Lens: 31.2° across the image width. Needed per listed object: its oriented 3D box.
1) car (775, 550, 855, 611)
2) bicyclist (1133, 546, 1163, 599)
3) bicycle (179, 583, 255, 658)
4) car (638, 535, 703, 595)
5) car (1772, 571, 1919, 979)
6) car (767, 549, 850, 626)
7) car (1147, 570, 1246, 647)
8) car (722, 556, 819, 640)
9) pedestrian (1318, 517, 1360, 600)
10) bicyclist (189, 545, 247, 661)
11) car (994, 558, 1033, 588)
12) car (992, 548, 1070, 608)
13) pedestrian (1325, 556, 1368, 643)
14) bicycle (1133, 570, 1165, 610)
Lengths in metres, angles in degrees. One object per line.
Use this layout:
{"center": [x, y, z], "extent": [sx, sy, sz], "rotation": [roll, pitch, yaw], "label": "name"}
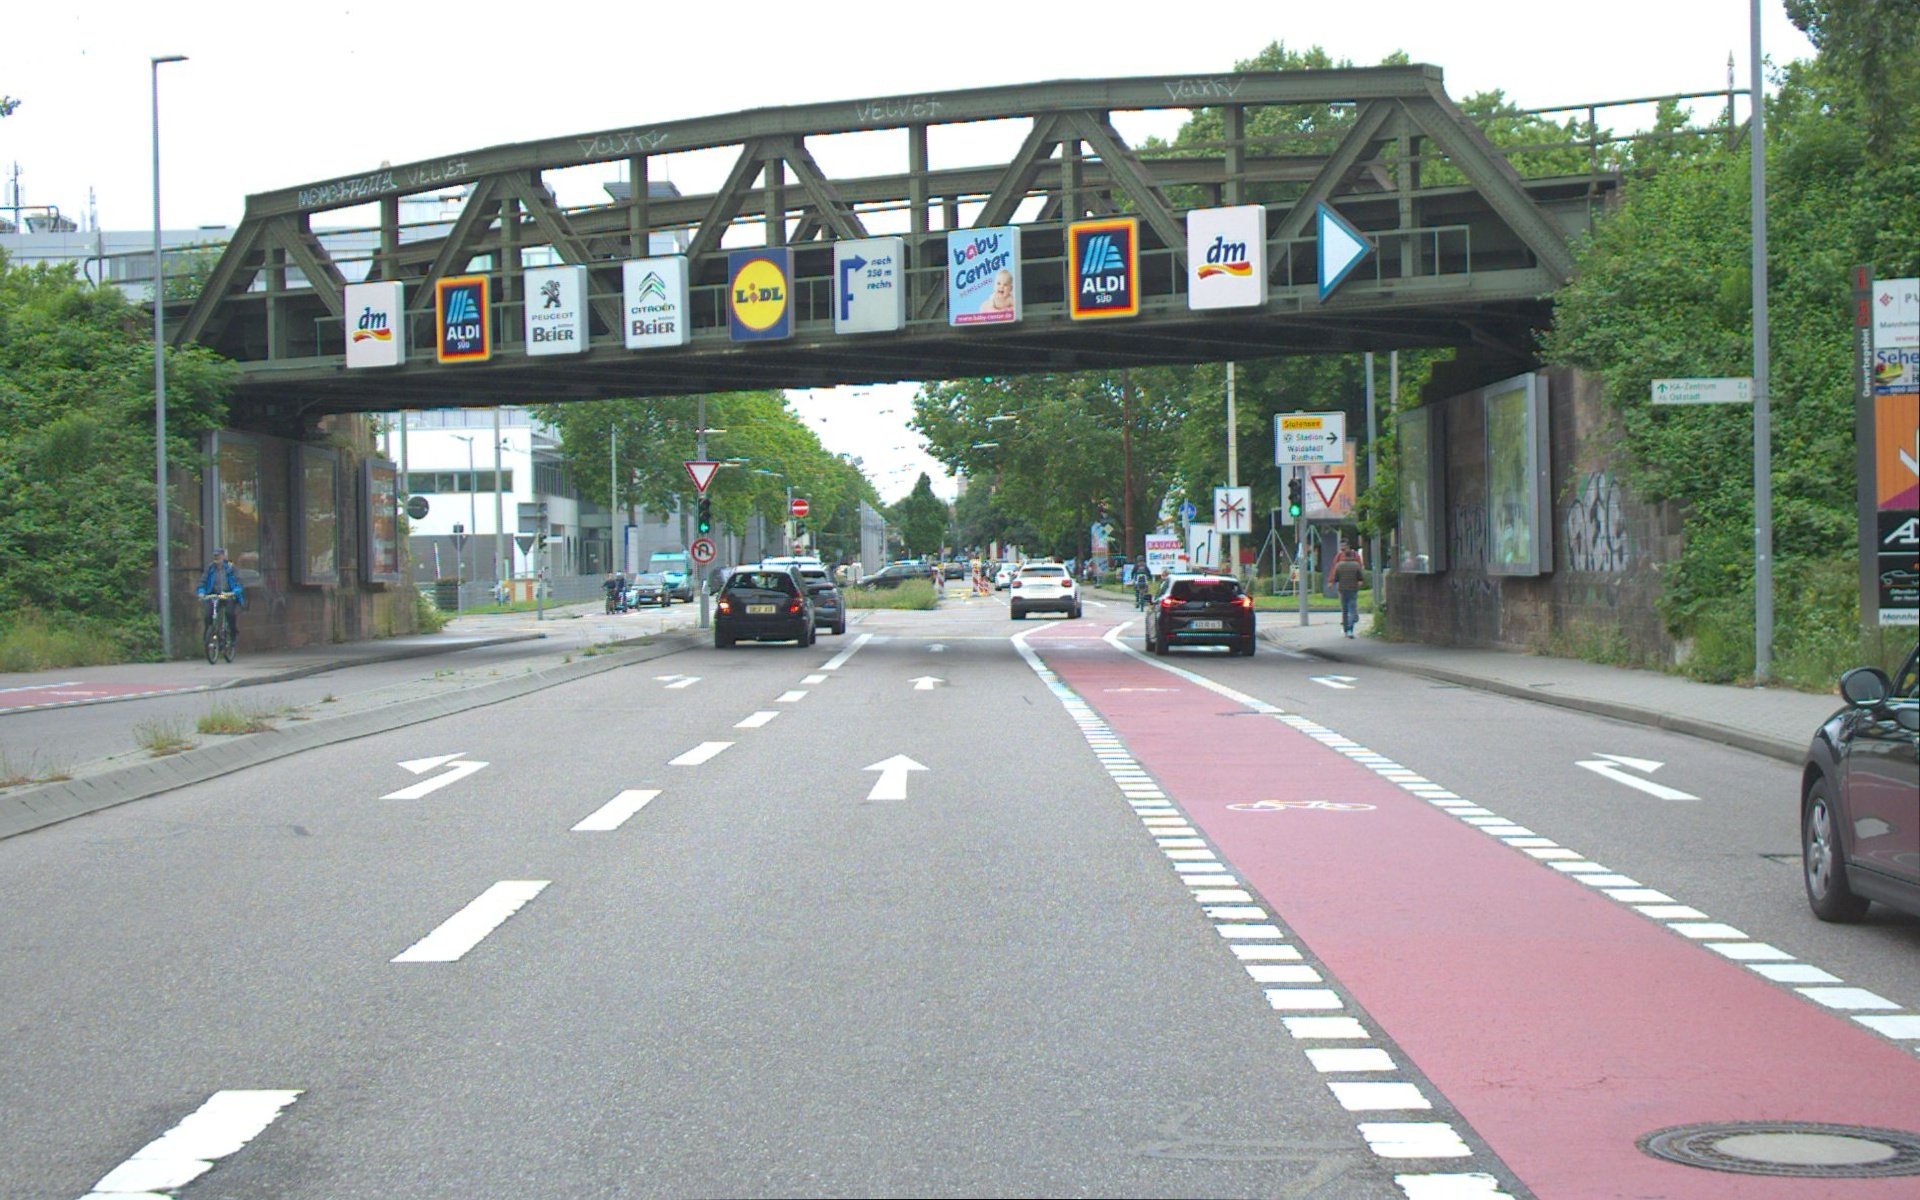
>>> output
{"center": [-3.829, -0.542, 90.190], "extent": [1.961, 1.522, 5.011], "rotation": [0, 1, -4], "label": "car"}
{"center": [5.871, -0.857, 107.307], "extent": [0.816, 1.624, 1.235], "rotation": [-1, 0, 0], "label": "bicyclist"}
{"center": [-12.119, 0.320, 56.134], "extent": [0.713, 1.183, 2.371], "rotation": [1, 0, 0], "label": "bicycle"}
{"center": [-14.082, -1.705, 167.598], "extent": [2.328, 2.816, 5.948], "rotation": [-1, 0, 3], "label": "car"}
{"center": [4.265, 0.628, 12.742], "extent": [1.679, 1.426, 3.774], "rotation": [0, 1, 1], "label": "car"}
{"center": [-3.360, -0.292, 75.944], "extent": [1.772, 1.647, 3.670], "rotation": [0, 1, -3], "label": "car"}
{"center": [4.114, 0.129, 60.126], "extent": [1.647, 1.276, 3.419], "rotation": [0, 1, 3], "label": "car"}
{"center": [-3.592, -0.062, 65.042], "extent": [1.768, 1.522, 3.670], "rotation": [0, 1, -3], "label": "car"}
{"center": [8.050, -0.881, 73.025], "extent": [0.872, 1.753, 0.787], "rotation": [-1, 1, 6], "label": "pedestrian"}
{"center": [-12.113, 0.053, 56.126], "extent": [0.702, 1.868, 1.020], "rotation": [1, 0, 0], "label": "bicyclist"}
{"center": [2.809, -1.441, 182.167], "extent": [1.795, 1.508, 3.706], "rotation": [0, 1, -3], "label": "car"}
{"center": [1.925, -0.622, 94.042], "extent": [1.823, 1.595, 3.776], "rotation": [0, 1, -3], "label": "car"}
{"center": [7.431, -0.014, 66.059], "extent": [0.742, 1.634, 0.778], "rotation": [-1, 1, 2], "label": "pedestrian"}
{"center": [5.887, -0.307, 107.314], "extent": [0.816, 1.208, 2.683], "rotation": [-1, 1, 0], "label": "bicycle"}
